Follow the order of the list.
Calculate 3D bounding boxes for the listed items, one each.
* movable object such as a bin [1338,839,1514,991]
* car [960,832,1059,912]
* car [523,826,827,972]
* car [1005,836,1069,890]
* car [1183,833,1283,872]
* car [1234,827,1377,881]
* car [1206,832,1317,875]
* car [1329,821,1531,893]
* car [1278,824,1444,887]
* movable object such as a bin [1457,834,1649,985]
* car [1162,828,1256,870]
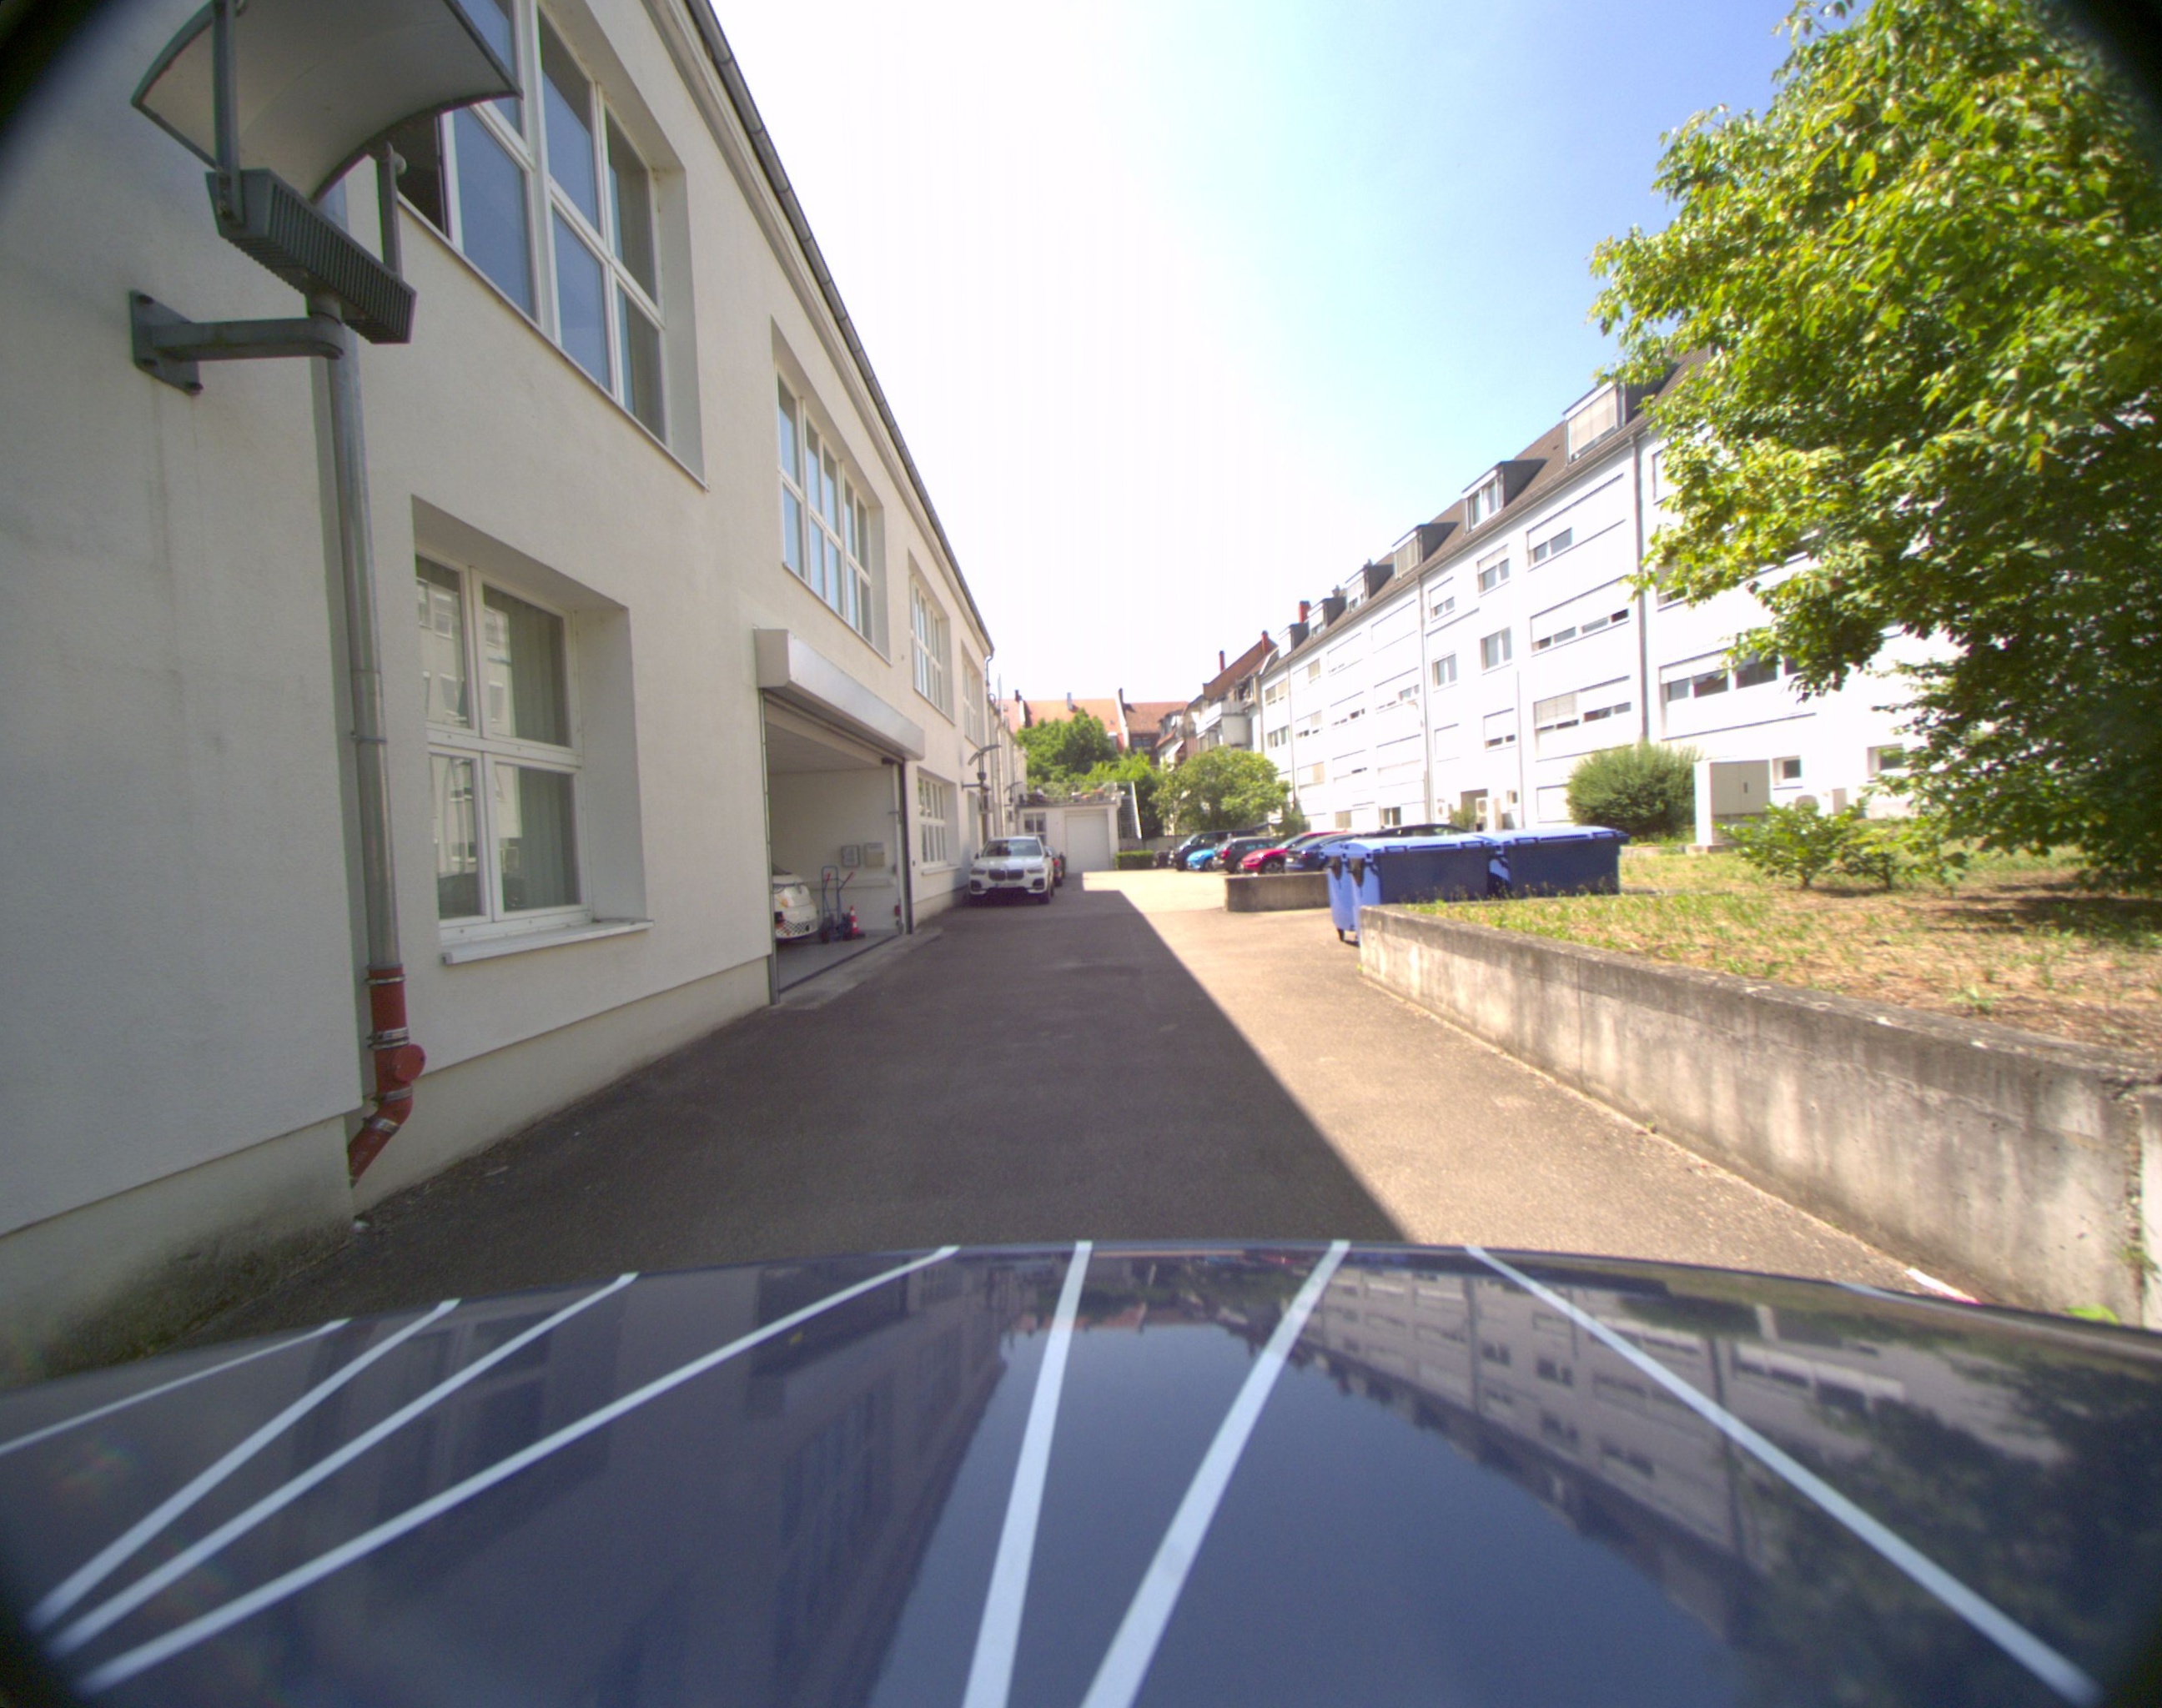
[{"bbox_3d":[3.466,0.576,7.767,1.271,1.381,1.095,-3,2,1],"label":"movable object such as a bin"},{"bbox_3d":[-1.728,0.353,20.078,2.011,1.793,4.726,-3,2,1],"label":"car"},{"bbox_3d":[-6.294,0.657,12.047,3.836,2.002,1.654,-3,2,4],"label":"car"},{"bbox_3d":[-1.558,0.250,28.879,2.011,1.793,4.726,-3,2,1],"label":"car"},{"bbox_3d":[6.982,-0.095,35.124,4.223,1.560,1.612,-3,2,-5],"label":"car"},{"bbox_3d":[7.461,-0.021,25.444,4.223,1.560,1.612,-3,2,-5],"label":"car"},{"bbox_3d":[7.564,-0.056,32.061,4.223,1.560,1.612,-3,2,-5],"label":"car"},{"bbox_3d":[8.847,0.049,19.422,4.445,1.560,1.612,-3,2,-5],"label":"car"},{"bbox_3d":[8.086,0.008,22.134,4.223,1.560,1.612,-3,2,-5],"label":"car"},{"bbox_3d":[4.764,0.515,7.777,1.271,1.381,1.095,-3,2,1],"label":"movable object such as a bin"},{"bbox_3d":[6.384,-0.275,38.060,4.223,1.813,2.008,-3,2,-5],"label":"car"}]
